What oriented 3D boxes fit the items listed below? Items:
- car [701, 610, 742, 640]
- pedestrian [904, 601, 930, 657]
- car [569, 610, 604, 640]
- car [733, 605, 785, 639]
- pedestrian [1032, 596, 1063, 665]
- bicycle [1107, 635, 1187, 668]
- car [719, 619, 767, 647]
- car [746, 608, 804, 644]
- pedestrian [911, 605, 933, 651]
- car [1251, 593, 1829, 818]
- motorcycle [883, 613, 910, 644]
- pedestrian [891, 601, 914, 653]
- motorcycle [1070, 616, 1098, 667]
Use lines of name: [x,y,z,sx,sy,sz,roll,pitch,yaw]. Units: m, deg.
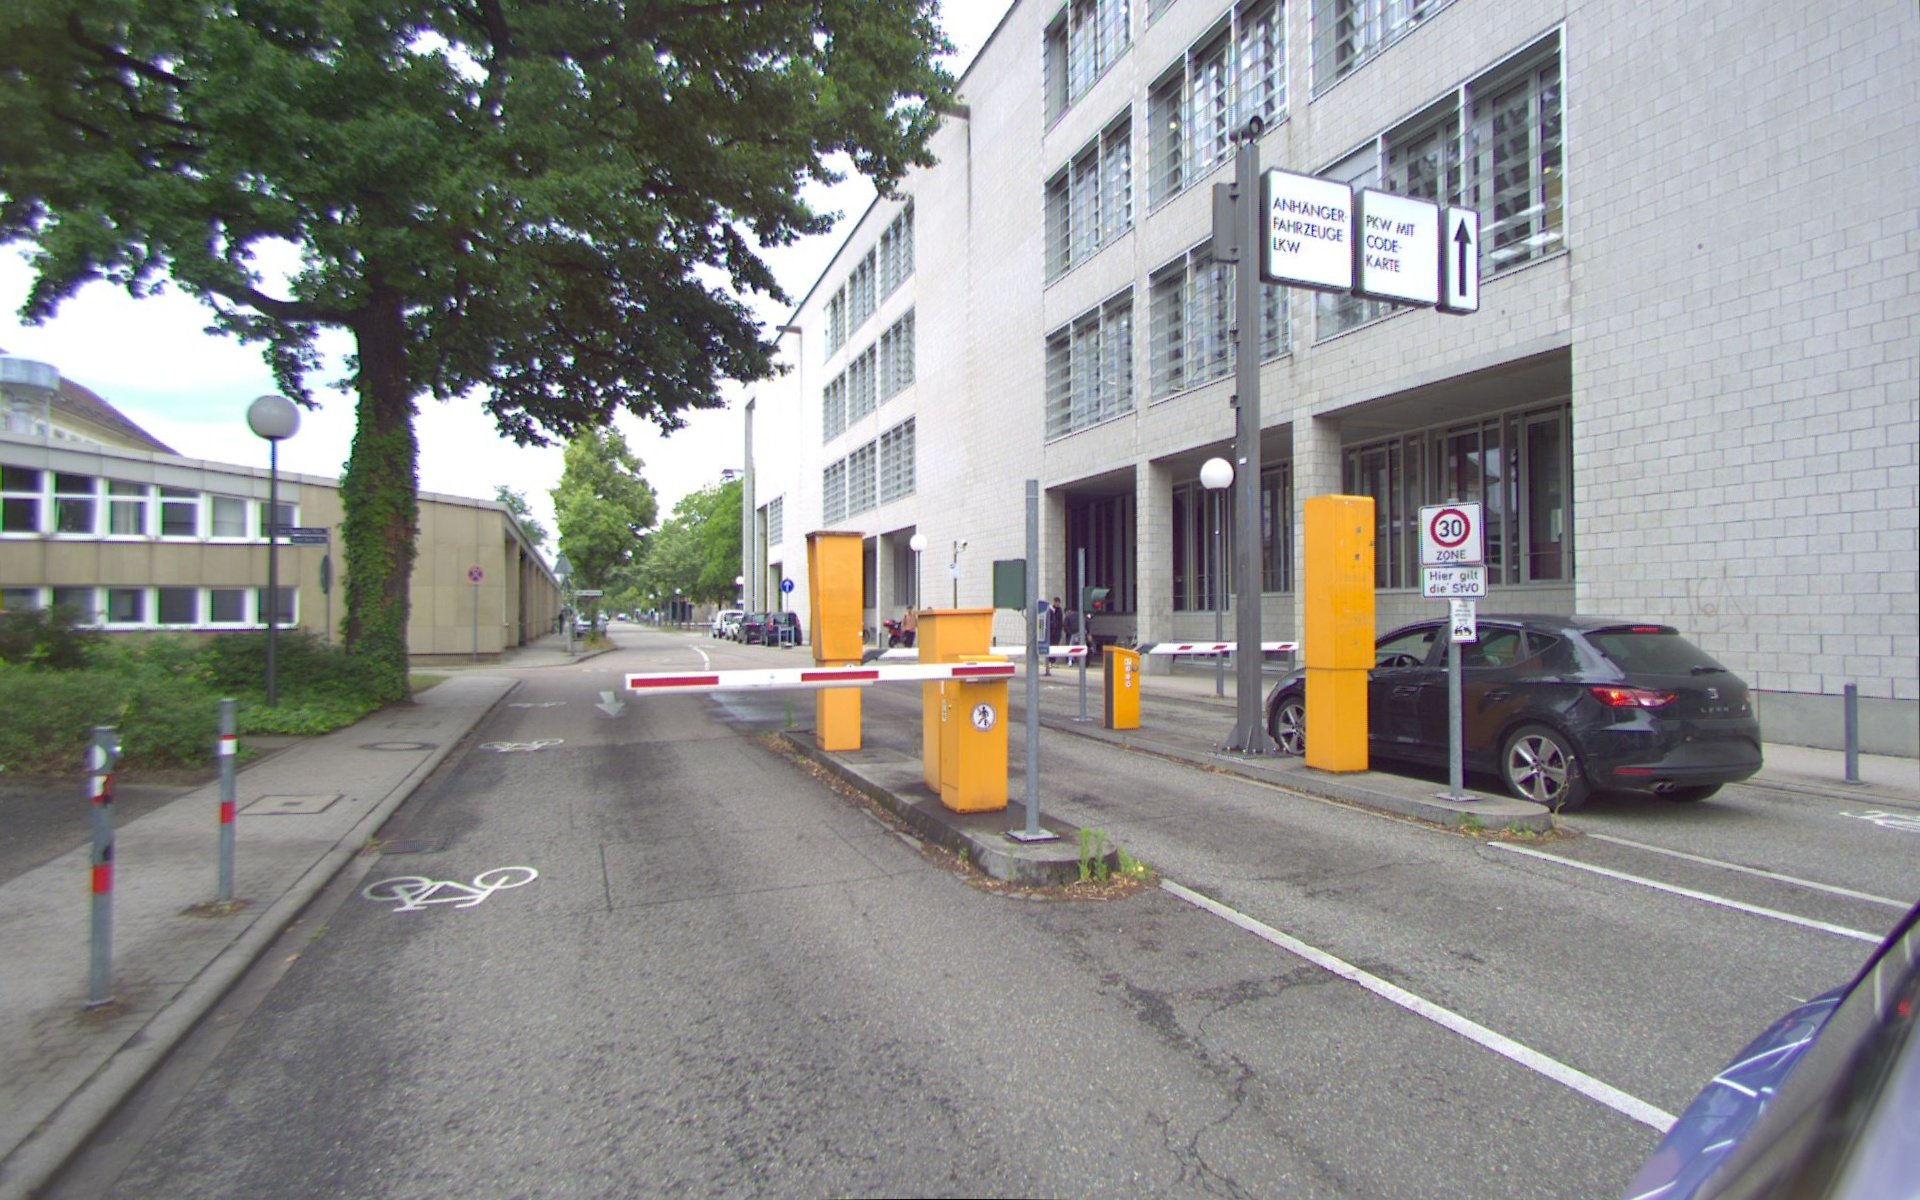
car: [-15.313,1.555,64.799,1.958,1.804,4.436,-1,0,-21]
pedestrian: [-1.345,0.896,31.844,0.684,1.736,0.490,1,-1,-23]
car: [-21.221,1.412,57.420,1.738,1.621,4.007,1,-1,-22]
car: [-10.645,1.135,53.393,1.958,1.643,4.436,-1,0,-21]
pedestrian: [2.241,0.760,25.935,0.600,1.736,0.576,-1,-1,-19]
bicycle: [4.355,1.198,23.524,1.863,0.707,0.494,1,1,-24]
car: [-12.478,1.852,58.032,1.958,1.482,4.436,-1,0,-21]
car: [-9.038,1.240,49.146,1.958,1.643,4.435,-1,-1,-22]
pedestrian: [-1.324,0.965,34.826,0.632,1.546,0.473,1,-1,-19]
car: [4.535,0.697,8.719,1.750,1.437,4.137,1,-1,-21]
motorcycle: [-2.615,1.164,42.064,0.748,1.162,2.660,2,1,3]
pedestrian: [-1.953,0.905,34.293,0.684,1.736,0.490,1,-1,-16]
motorcycle: [3.198,1.046,26.226,0.557,1.162,2.215,2,1,3]
